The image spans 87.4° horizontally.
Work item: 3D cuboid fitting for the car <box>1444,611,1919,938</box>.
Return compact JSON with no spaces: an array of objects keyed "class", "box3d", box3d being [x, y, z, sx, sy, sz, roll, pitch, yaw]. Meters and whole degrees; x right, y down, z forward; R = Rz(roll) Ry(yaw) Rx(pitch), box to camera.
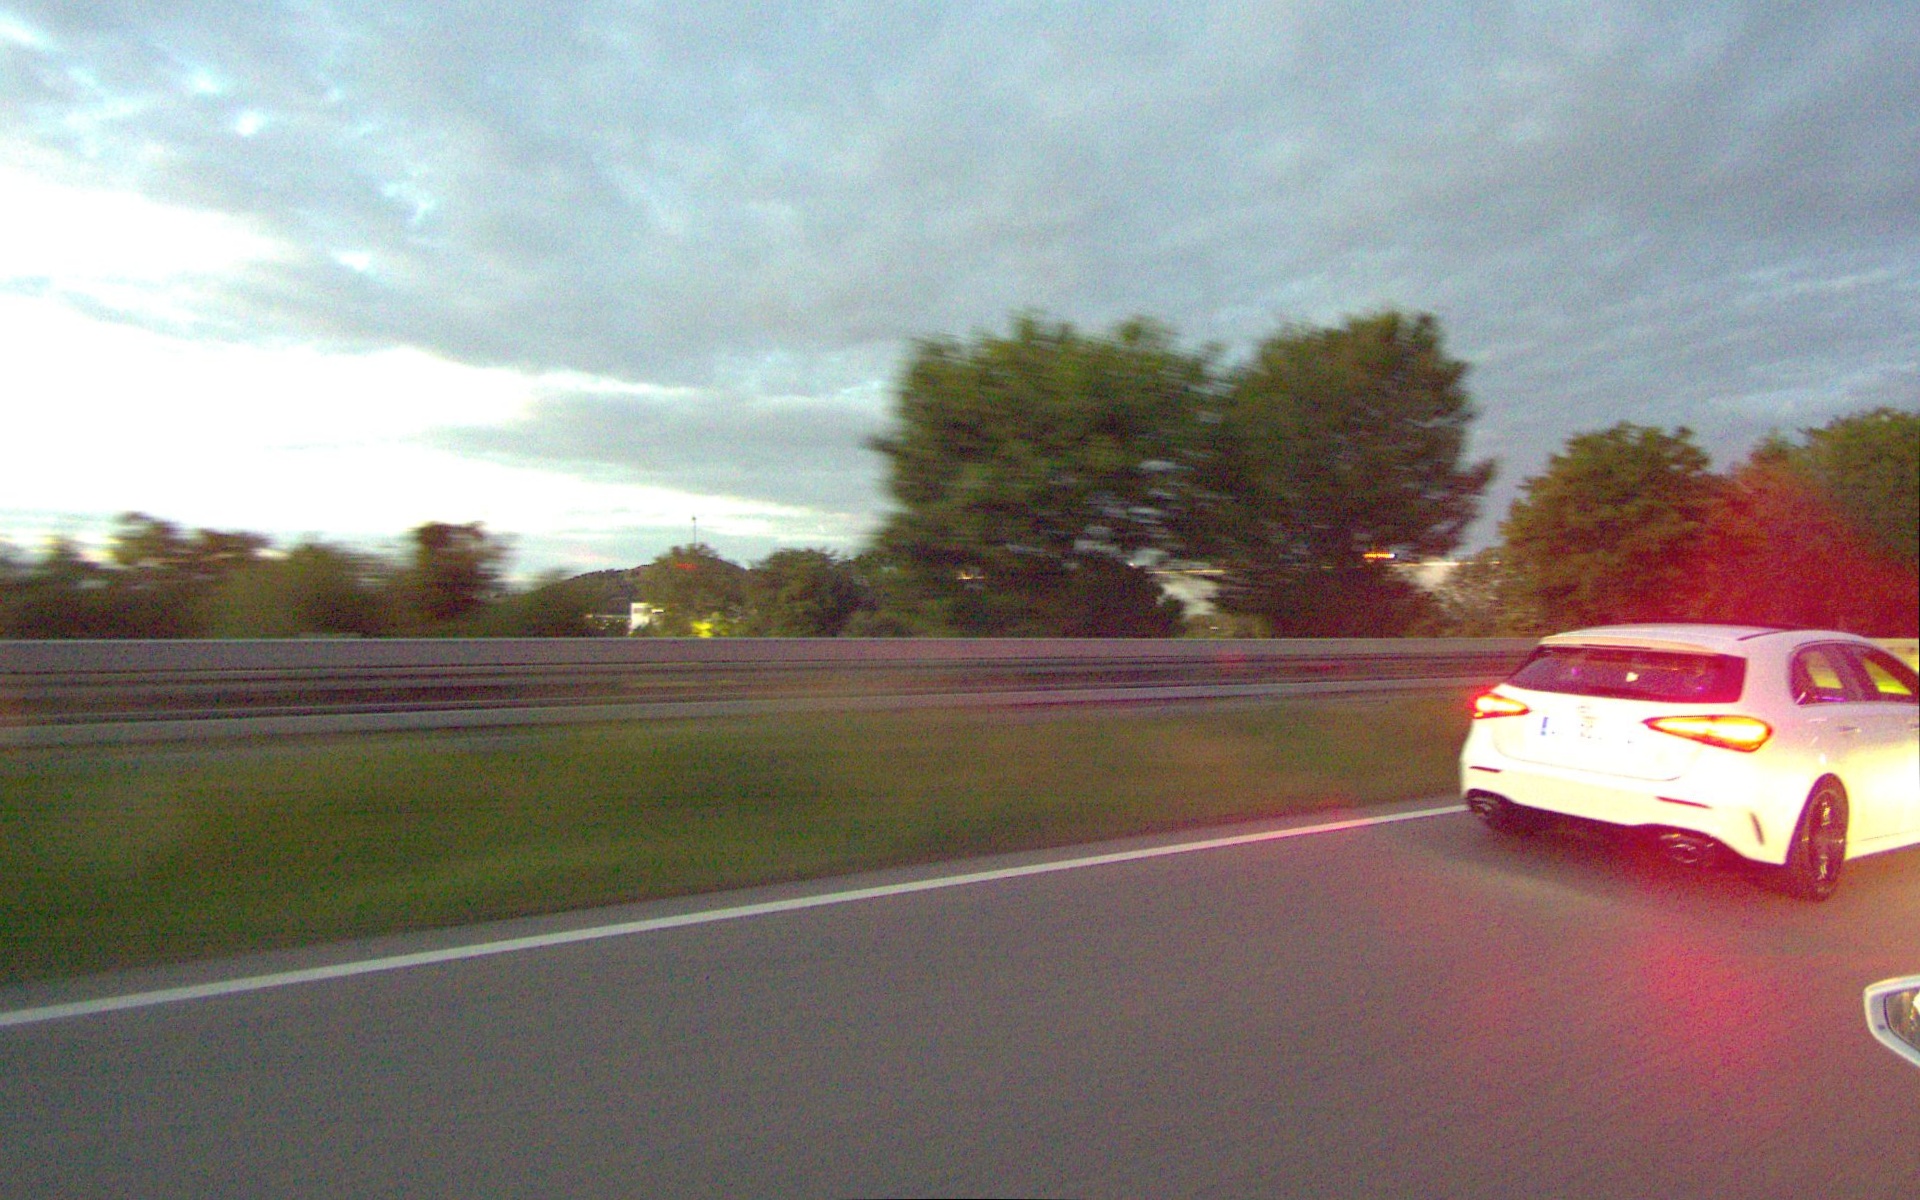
[{"class":"car","box3d":[5.320,0.883,6.572,4.526,1.510,1.634,2,0,-31]}]
